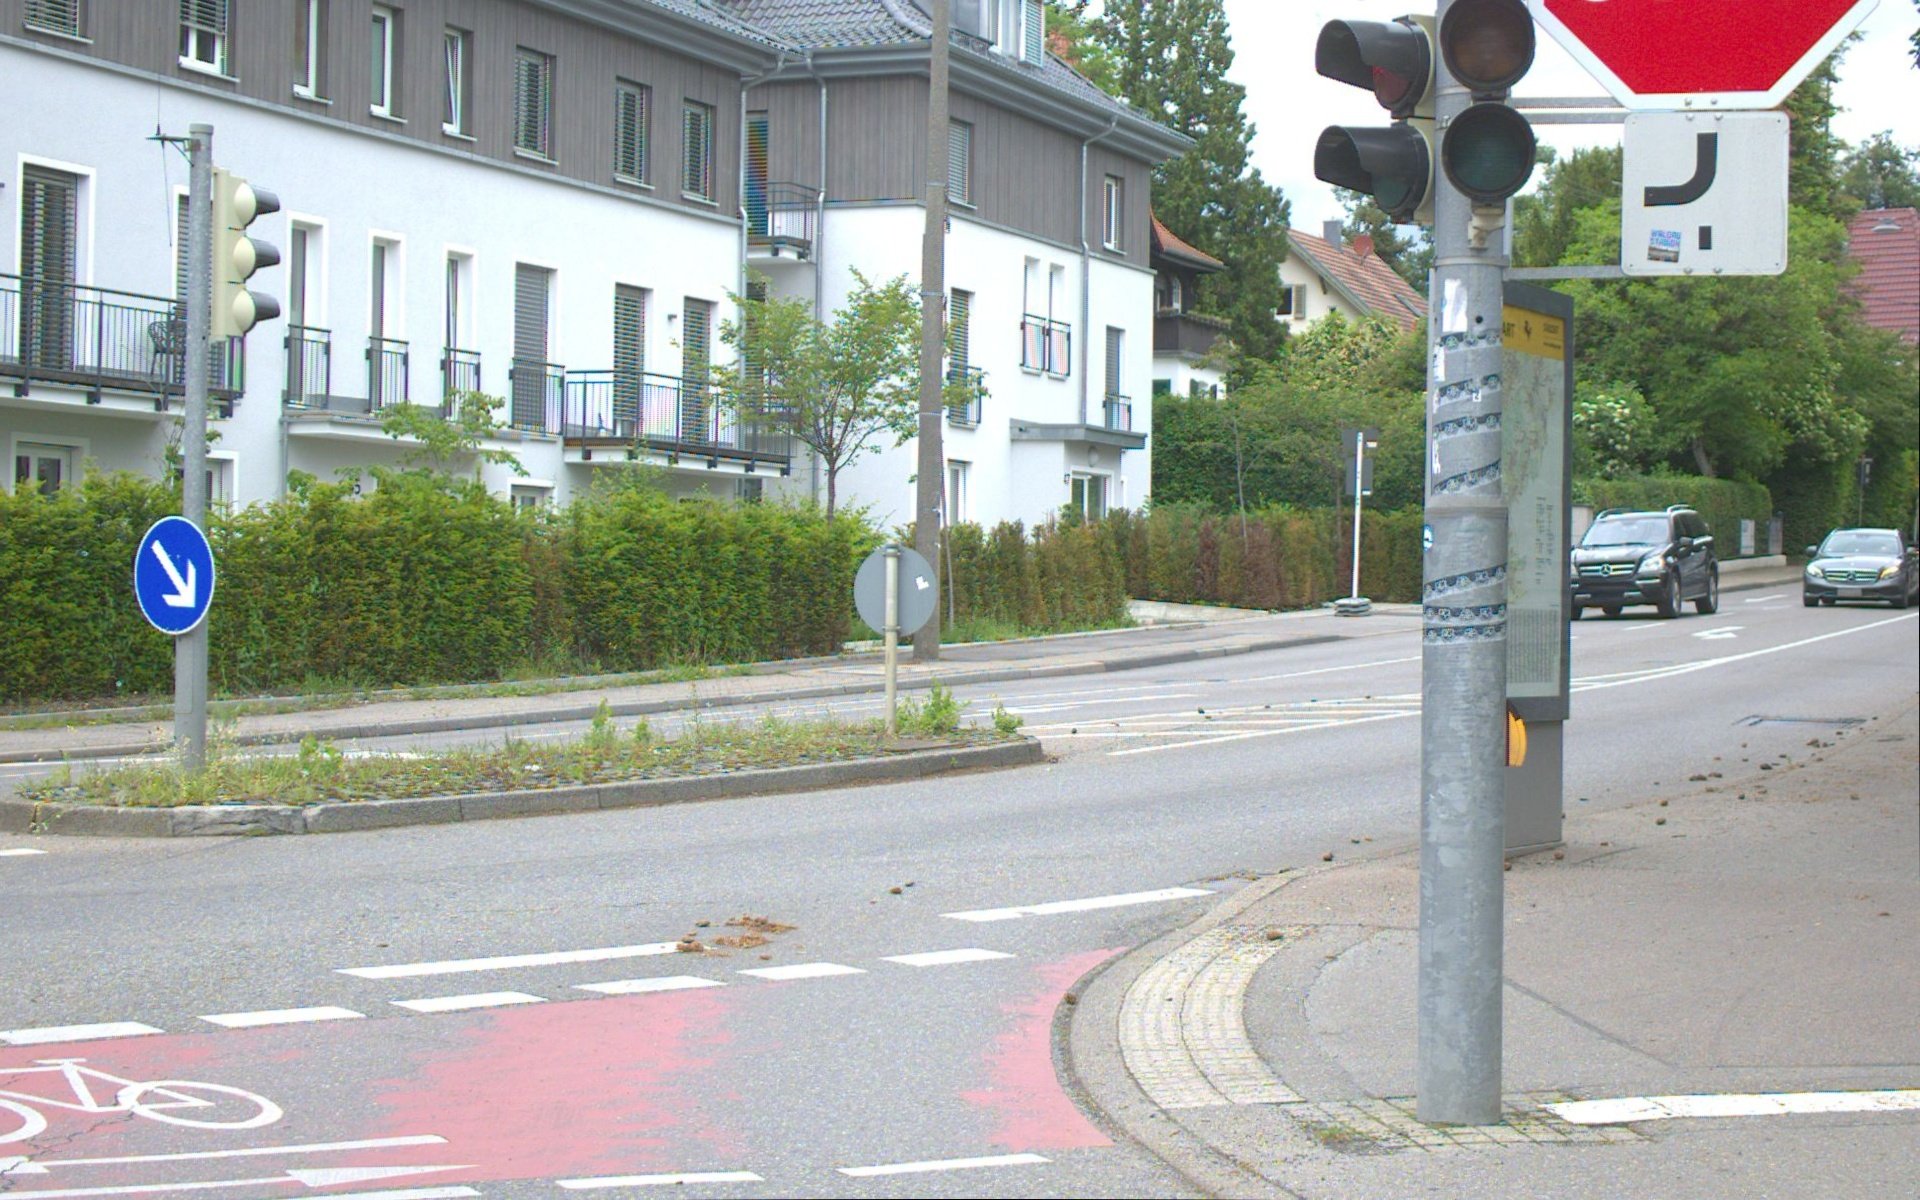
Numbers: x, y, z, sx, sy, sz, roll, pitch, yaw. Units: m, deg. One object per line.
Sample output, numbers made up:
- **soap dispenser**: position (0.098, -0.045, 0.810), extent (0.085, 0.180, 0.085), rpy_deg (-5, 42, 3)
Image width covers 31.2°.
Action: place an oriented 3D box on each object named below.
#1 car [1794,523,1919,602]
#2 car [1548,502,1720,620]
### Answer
- **car**: position (16.969, -0.729, 64.341), extent (1.941, 1.399, 4.737), rpy_deg (1, 2, 22)
- **car**: position (11.394, -0.652, 57.849), extent (1.914, 1.874, 5.136), rpy_deg (-1, 0, 22)
